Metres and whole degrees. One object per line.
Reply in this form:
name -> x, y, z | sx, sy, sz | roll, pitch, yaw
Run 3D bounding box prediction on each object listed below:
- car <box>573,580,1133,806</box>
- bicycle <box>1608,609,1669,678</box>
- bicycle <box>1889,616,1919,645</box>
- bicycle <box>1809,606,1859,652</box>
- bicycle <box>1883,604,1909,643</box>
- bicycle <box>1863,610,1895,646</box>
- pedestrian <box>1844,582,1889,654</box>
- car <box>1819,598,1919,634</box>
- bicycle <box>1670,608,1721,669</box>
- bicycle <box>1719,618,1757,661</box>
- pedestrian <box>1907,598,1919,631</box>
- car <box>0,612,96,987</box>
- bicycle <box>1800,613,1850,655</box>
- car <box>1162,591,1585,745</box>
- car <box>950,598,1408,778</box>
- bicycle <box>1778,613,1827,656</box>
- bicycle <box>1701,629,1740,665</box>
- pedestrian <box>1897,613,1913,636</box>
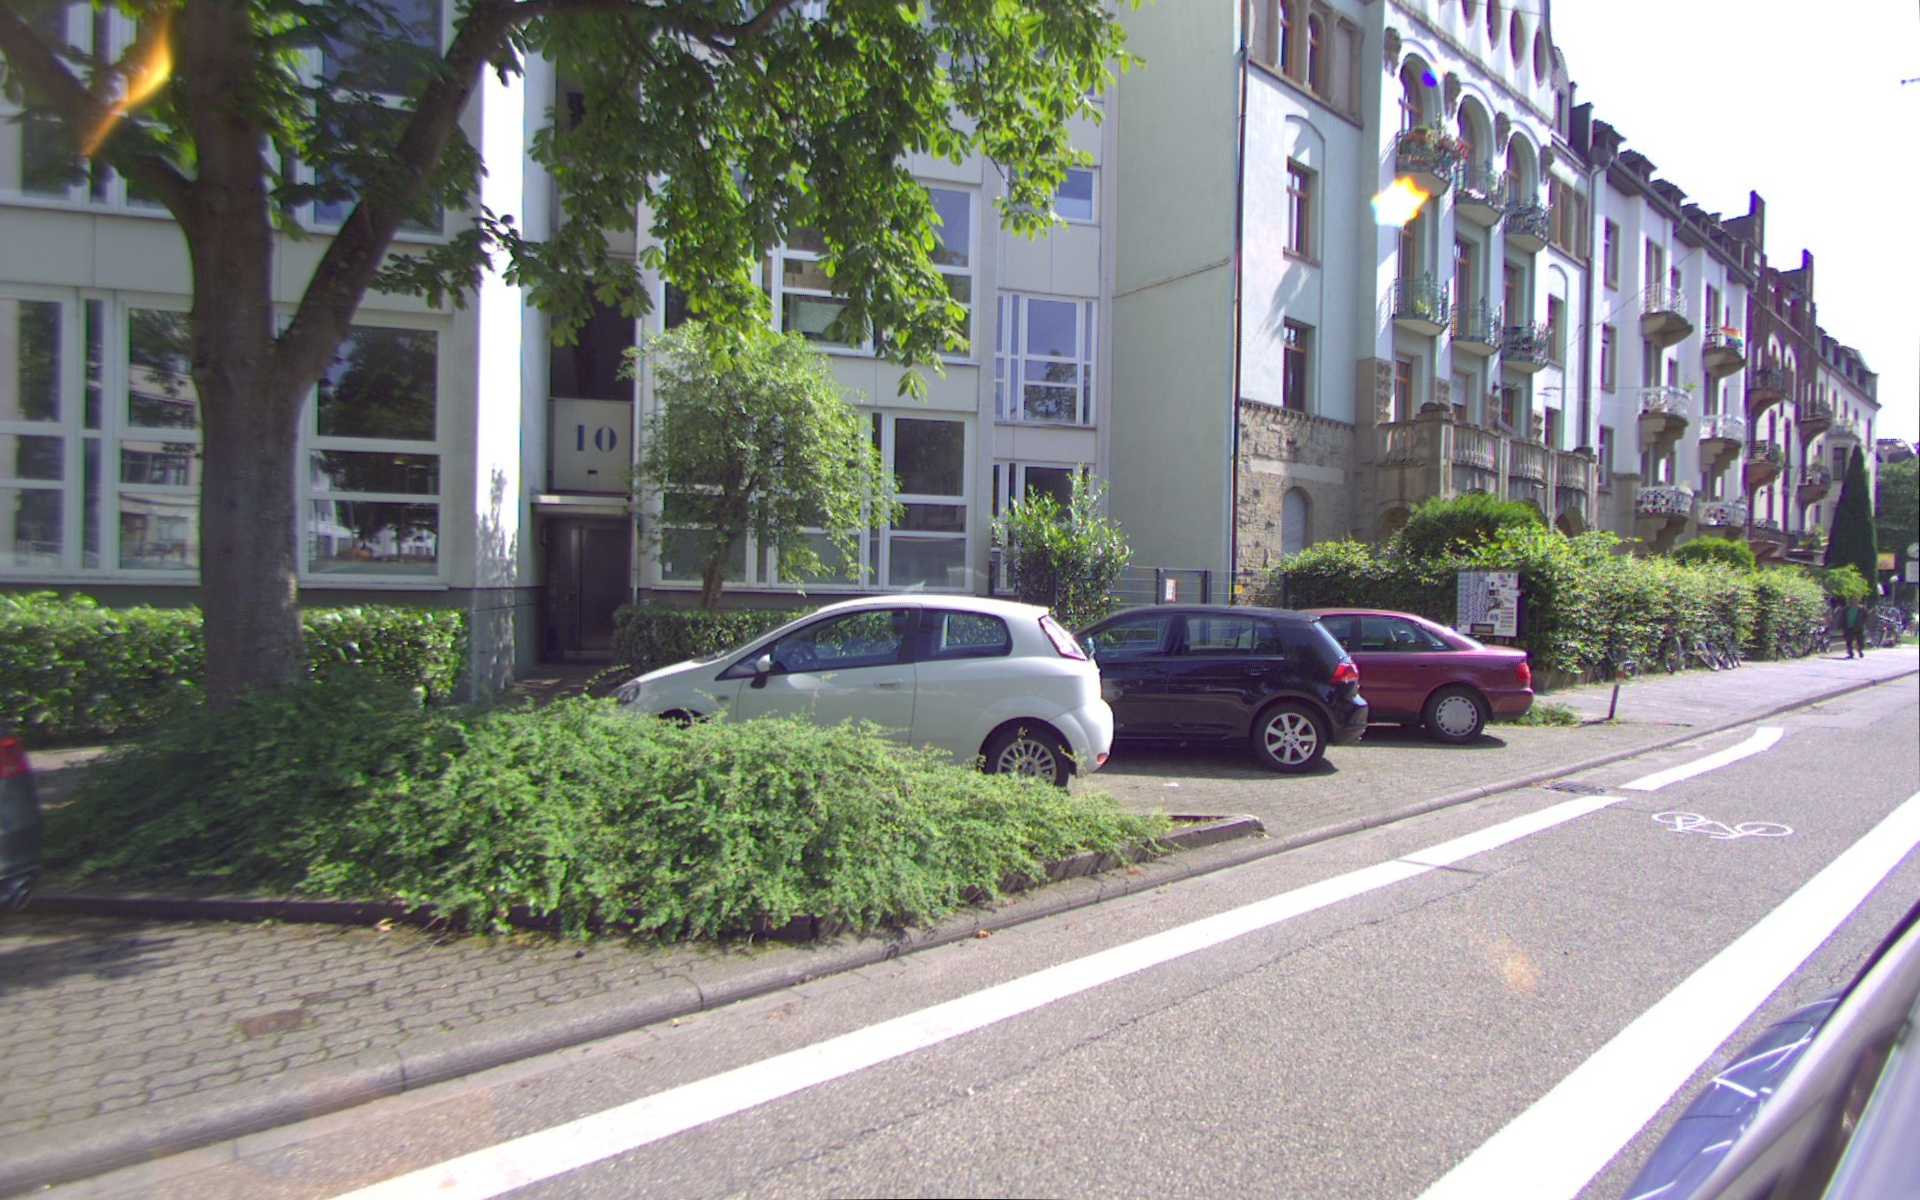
car -> -0.738, 0.619, 7.802 | 3.929, 1.479, 1.534 | 1, 0, 5
bicycle -> 11.881, 0.742, 17.691 | 1.975, 1.122, 0.280 | 0, 4, -40
bicycle -> 34.975, 1.121, 37.430 | 3.015, 0.972, 0.600 | 1, 4, -43
bicycle -> 25.407, 0.811, 29.407 | 2.472, 1.246, 0.742 | 0, 1, -41
bicycle -> 31.820, 0.802, 34.400 | 1.813, 1.276, 0.451 | 1, 3, -43
bicycle -> 30.360, 0.908, 33.422 | 1.811, 1.136, 0.452 | 1, 3, -40
pedestrian -> 24.783, 0.482, 27.673 | 0.788, 1.884, 0.571 | 5, 3, 43
car -> 45.762, 0.757, 50.985 | 1.935, 1.542, 3.412 | 1, 3, -37
bicycle -> 14.503, 0.738, 19.943 | 1.975, 1.122, 0.280 | 0, 4, -40
bicycle -> 17.541, 0.891, 22.798 | 1.638, 0.918, 0.274 | 3, 3, -41
pedestrian -> 56.634, 0.881, 59.850 | 0.659, 1.862, 0.860 | 11, 7, 41
car -> -5.602, 0.728, 3.329 | 4.102, 1.366, 1.902 | 0, 0, 6
bicycle -> 23.031, 0.875, 26.929 | 2.321, 1.008, 0.612 | 0, 4, -41
car -> 4.485, 0.688, 11.596 | 4.090, 1.441, 1.863 | 2, 1, 8
car -> 1.970, 0.748, 9.747 | 3.933, 1.467, 1.696 | 1, 0, 8
bicycle -> 21.192, 0.850, 25.455 | 1.839, 1.001, 0.613 | 0, 3, -41
bicycle -> 15.923, 0.972, 21.168 | 1.531, 0.685, 0.280 | 0, 4, -40
pedestrian -> 56.254, 1.456, 60.242 | 0.570, 1.341, 0.436 | 8, 5, 42
